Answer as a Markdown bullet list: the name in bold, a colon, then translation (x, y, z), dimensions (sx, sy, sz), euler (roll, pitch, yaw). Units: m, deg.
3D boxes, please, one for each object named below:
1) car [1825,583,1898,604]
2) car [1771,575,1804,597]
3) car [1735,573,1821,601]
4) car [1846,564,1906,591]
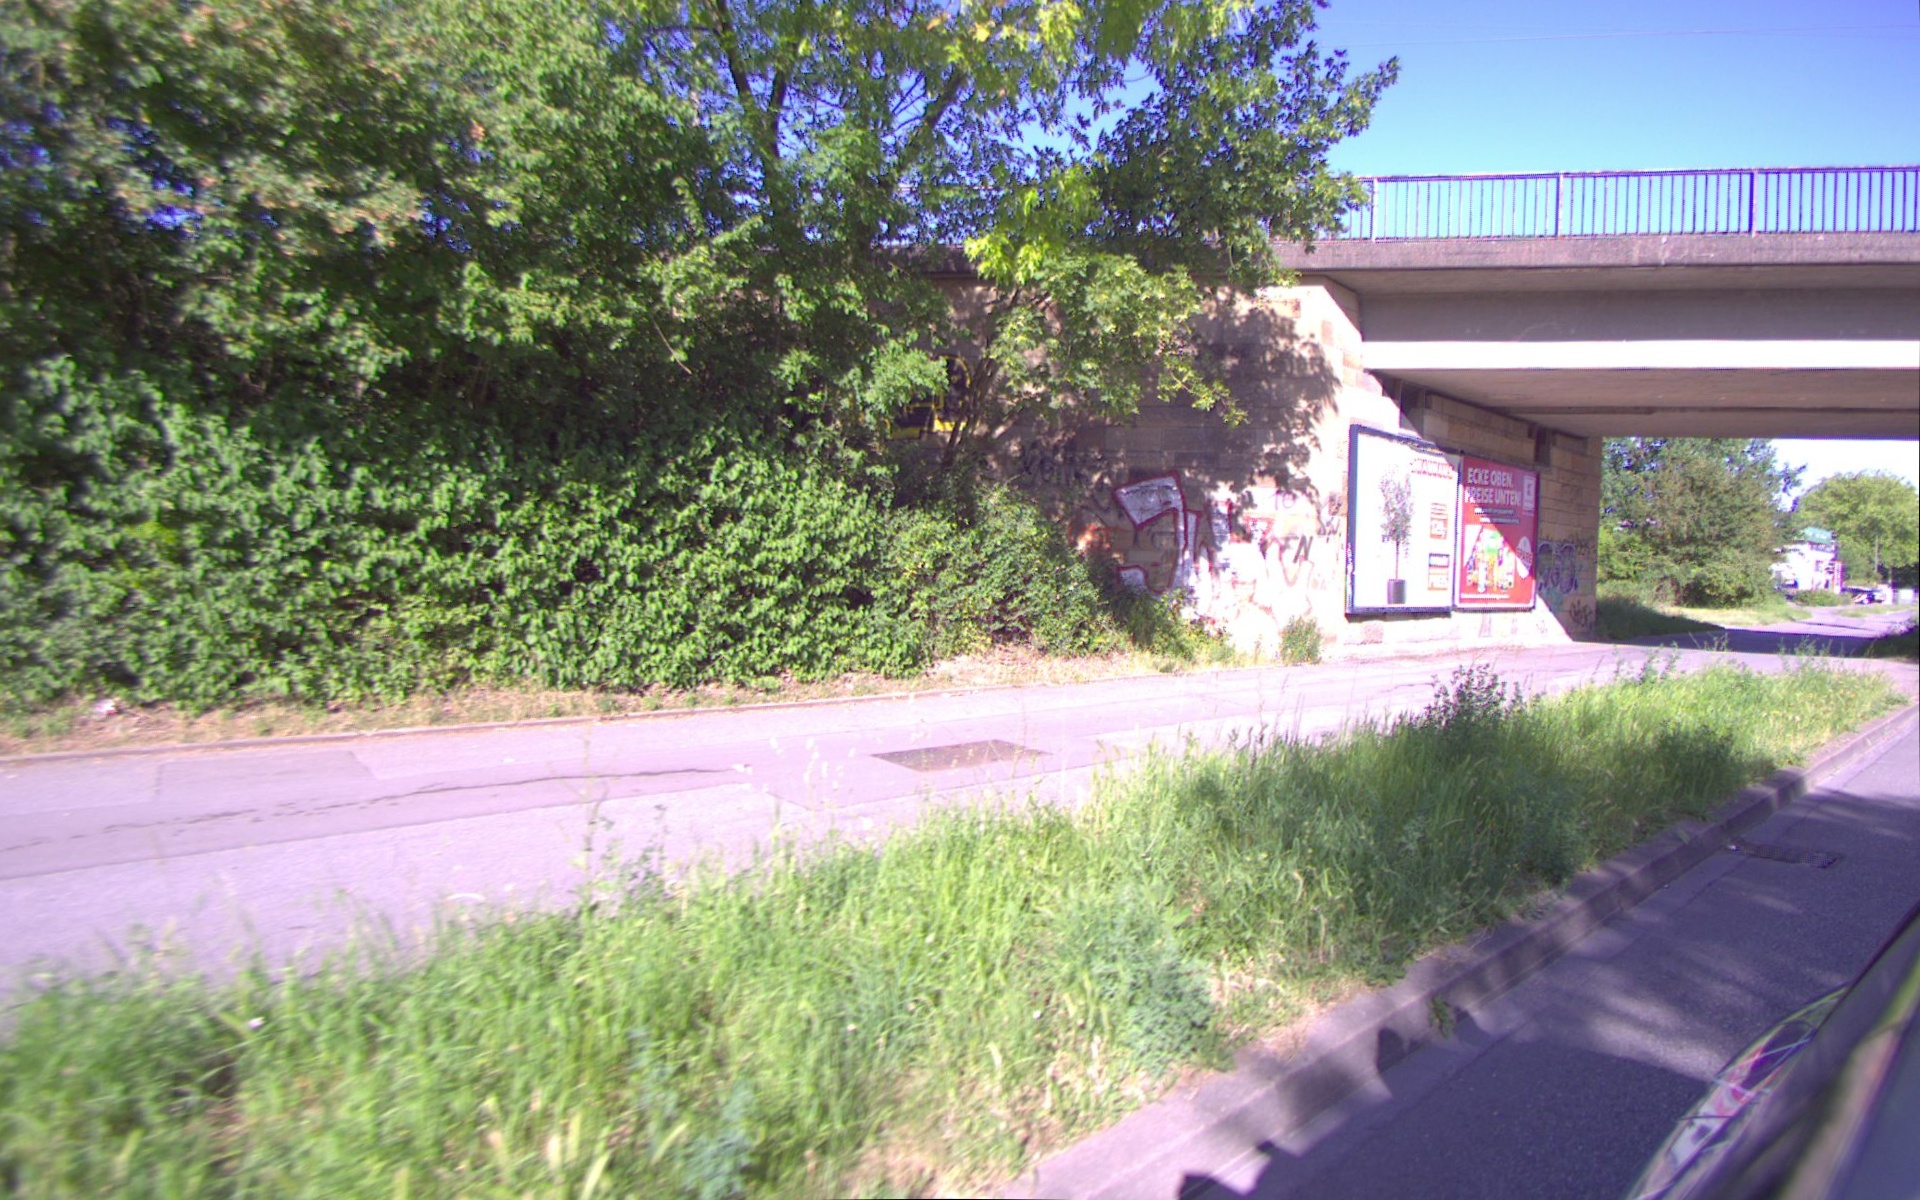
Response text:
- **car**: translation (82.840, -0.617, 93.075), dimensions (4.748, 1.549, 1.901), euler (3, 4, 3)
- **car**: translation (81.108, -1.382, 99.191), dimensions (4.146, 1.882, 1.896), euler (-1, 6, -43)
- **car**: translation (57.910, -0.965, 71.782), dimensions (1.764, 1.659, 4.573), euler (2, 4, -11)
- **car**: translation (89.731, -2.209, 99.202), dimensions (1.652, 2.035, 4.014), euler (5, 7, -9)
